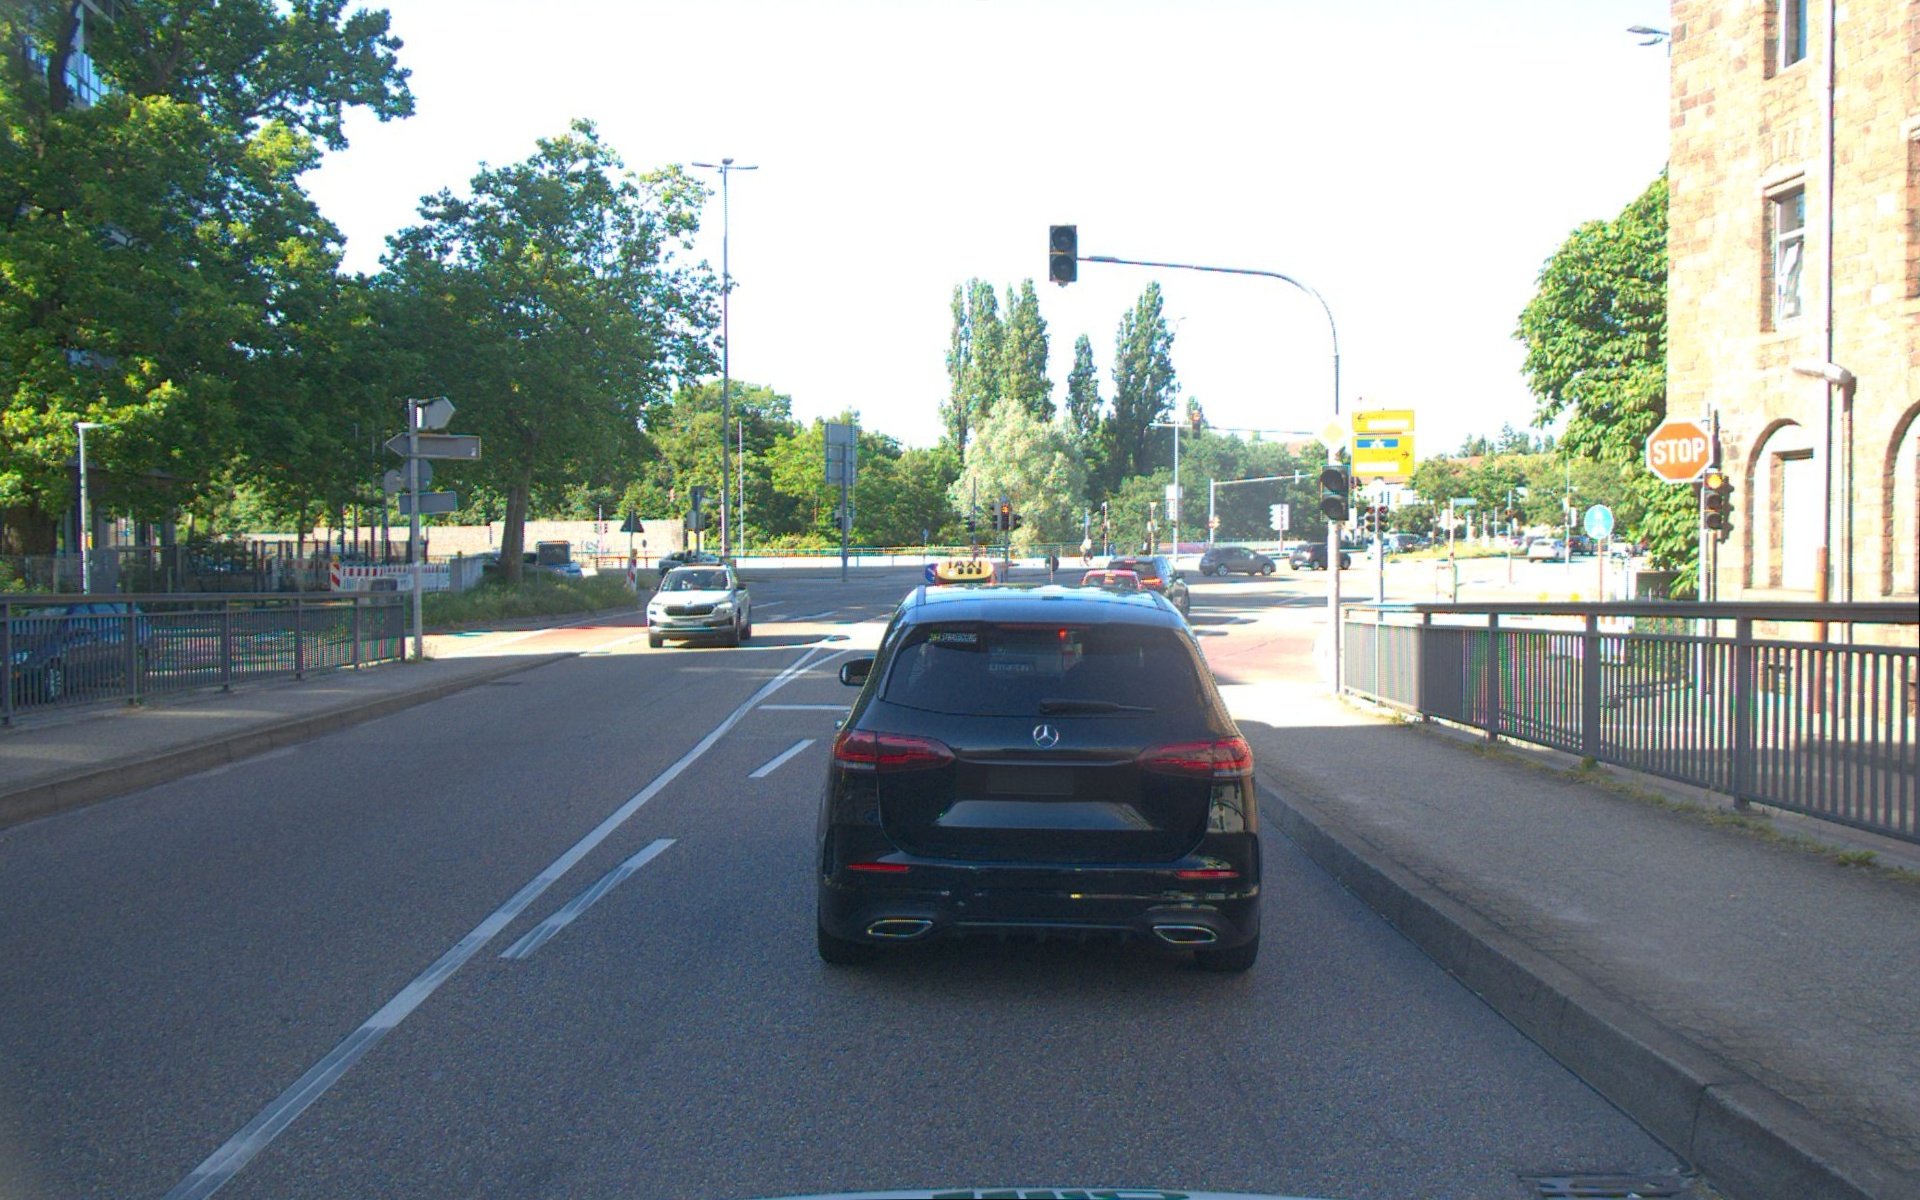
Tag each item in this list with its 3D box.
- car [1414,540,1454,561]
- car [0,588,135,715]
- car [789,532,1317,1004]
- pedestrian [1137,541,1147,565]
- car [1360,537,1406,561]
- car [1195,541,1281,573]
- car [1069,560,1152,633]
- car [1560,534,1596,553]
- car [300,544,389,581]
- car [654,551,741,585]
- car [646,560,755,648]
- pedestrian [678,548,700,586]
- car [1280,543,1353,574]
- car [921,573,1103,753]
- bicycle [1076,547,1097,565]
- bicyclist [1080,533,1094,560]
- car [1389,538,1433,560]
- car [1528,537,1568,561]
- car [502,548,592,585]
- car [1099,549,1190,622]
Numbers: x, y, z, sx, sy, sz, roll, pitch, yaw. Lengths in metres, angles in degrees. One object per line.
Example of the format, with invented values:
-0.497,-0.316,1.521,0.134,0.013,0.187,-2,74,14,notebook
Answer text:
36.827,-3.853,128.498,1.846,1.605,3.987,1,2,35,car
-14.764,0.733,25.801,1.814,1.722,4.000,0,2,-1,car
0.303,0.568,7.836,1.839,1.641,4.000,1,1,-1,car
12.420,-3.231,112.895,0.443,1.613,0.499,0,2,40,pedestrian
29.444,-3.535,115.166,1.846,1.605,3.987,1,2,35,car
13.921,-2.148,83.000,3.919,1.524,1.738,0,0,-14,car
3.634,-0.117,39.429,1.685,1.548,3.490,0,3,10,car
47.637,-4.343,127.518,1.845,1.317,4.586,0,3,30,car
-32.038,-1.966,86.049,4.799,1.825,1.918,0,2,36,car
-13.207,-1.593,83.094,3.906,1.658,1.891,0,1,23,car
-5.290,0.034,34.143,1.768,1.651,3.998,-1,1,-3,car
-11.107,-1.354,67.843,0.690,1.552,0.744,1,1,10,pedestrian
20.025,-2.310,92.825,3.955,1.574,1.867,1,0,-36,car
0.514,0.543,16.656,1.606,1.556,3.475,-1,2,1,car
7.592,-2.628,98.900,0.515,1.068,1.988,-1,2,26,bicycle
7.590,-3.180,98.877,0.515,1.578,0.806,-1,1,26,bicyclist
32.846,-3.722,120.375,1.846,1.605,3.987,1,2,35,car
37.556,-3.271,105.571,1.954,1.389,4.311,0,3,26,car
-19.429,-1.561,77.786,3.913,1.663,1.781,0,3,30,car
5.088,-0.438,45.145,1.685,1.843,4.301,0,2,17,car
